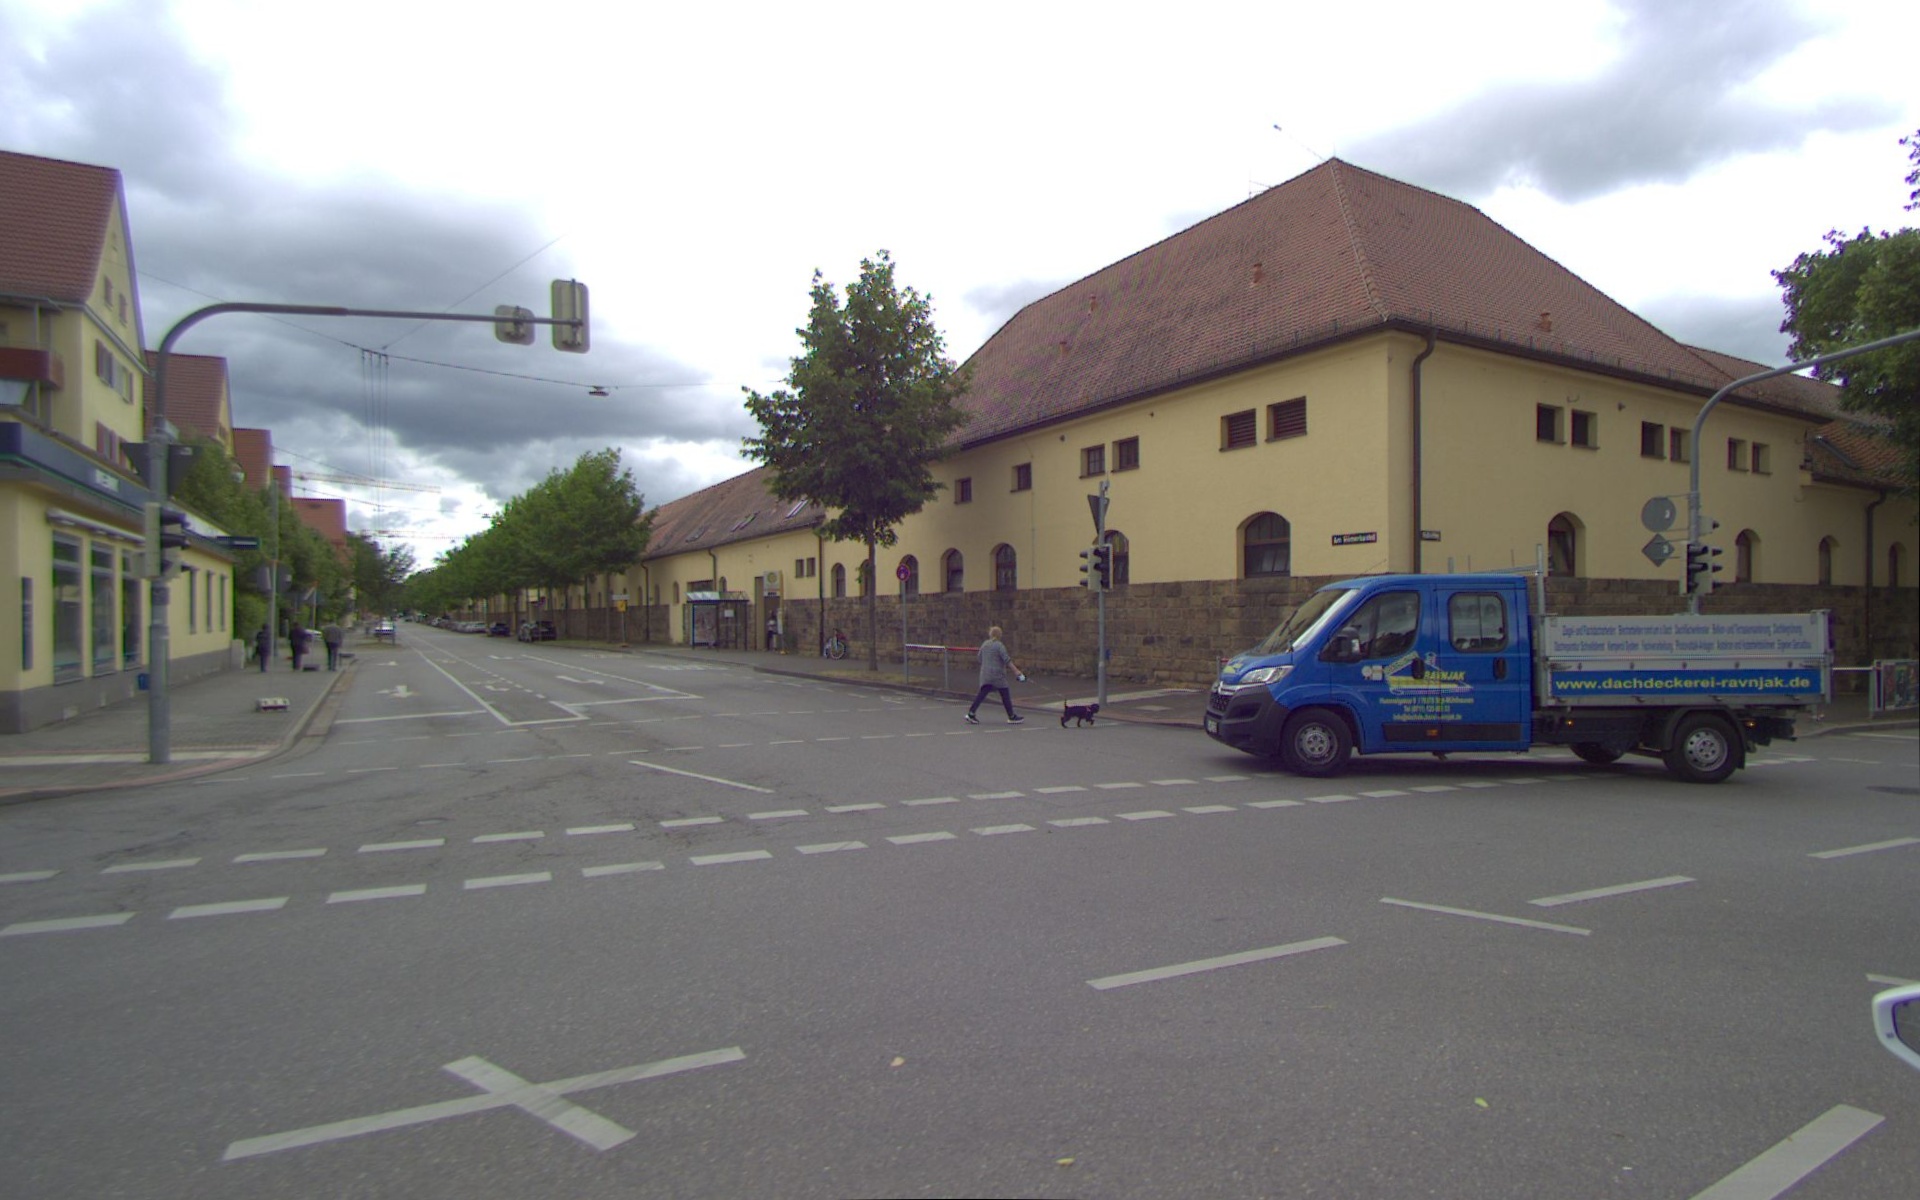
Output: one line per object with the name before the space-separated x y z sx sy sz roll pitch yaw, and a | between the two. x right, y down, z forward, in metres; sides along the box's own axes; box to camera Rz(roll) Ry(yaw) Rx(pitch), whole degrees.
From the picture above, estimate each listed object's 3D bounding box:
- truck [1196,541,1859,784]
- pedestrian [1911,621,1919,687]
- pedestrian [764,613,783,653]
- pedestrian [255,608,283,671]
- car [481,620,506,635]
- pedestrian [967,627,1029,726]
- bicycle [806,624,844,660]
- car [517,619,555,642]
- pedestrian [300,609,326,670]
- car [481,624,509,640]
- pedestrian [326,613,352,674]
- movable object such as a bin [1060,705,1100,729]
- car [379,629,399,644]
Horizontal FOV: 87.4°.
truck | 6.101 0.675 11.551 6.283 2.459 2.304 0 -2 2
pedestrian | 27.181 1.515 27.998 0.864 1.818 0.773 1 -1 -30
pedestrian | -8.385 1.478 45.157 0.640 1.773 0.773 1 -1 -23
pedestrian | -22.875 1.289 33.243 0.678 2.040 0.680 2 -1 -38
car | -49.569 2.909 106.723 1.829 1.559 3.962 2 -1 -34
pedestrian | 0.623 1.243 16.584 0.831 1.587 0.562 1 -1 -25
bicycle | -5.128 1.579 38.063 0.509 1.283 2.303 1 -1 -32
car | -30.893 2.223 73.124 1.829 1.559 3.962 2 -1 -34
pedestrian | -21.953 1.322 34.086 0.677 2.040 0.681 1 -1 -33
car | -46.698 3.199 100.846 1.829 1.559 3.962 2 -1 -34
pedestrian | -21.344 1.489 34.511 0.677 2.040 0.680 2 -1 -37
movable object such as a bin | 1.912 1.866 16.032 0.570 0.352 0.307 1 -1 -5
car | -59.679 3.808 104.989 1.684 1.488 3.971 2 -2 -28
